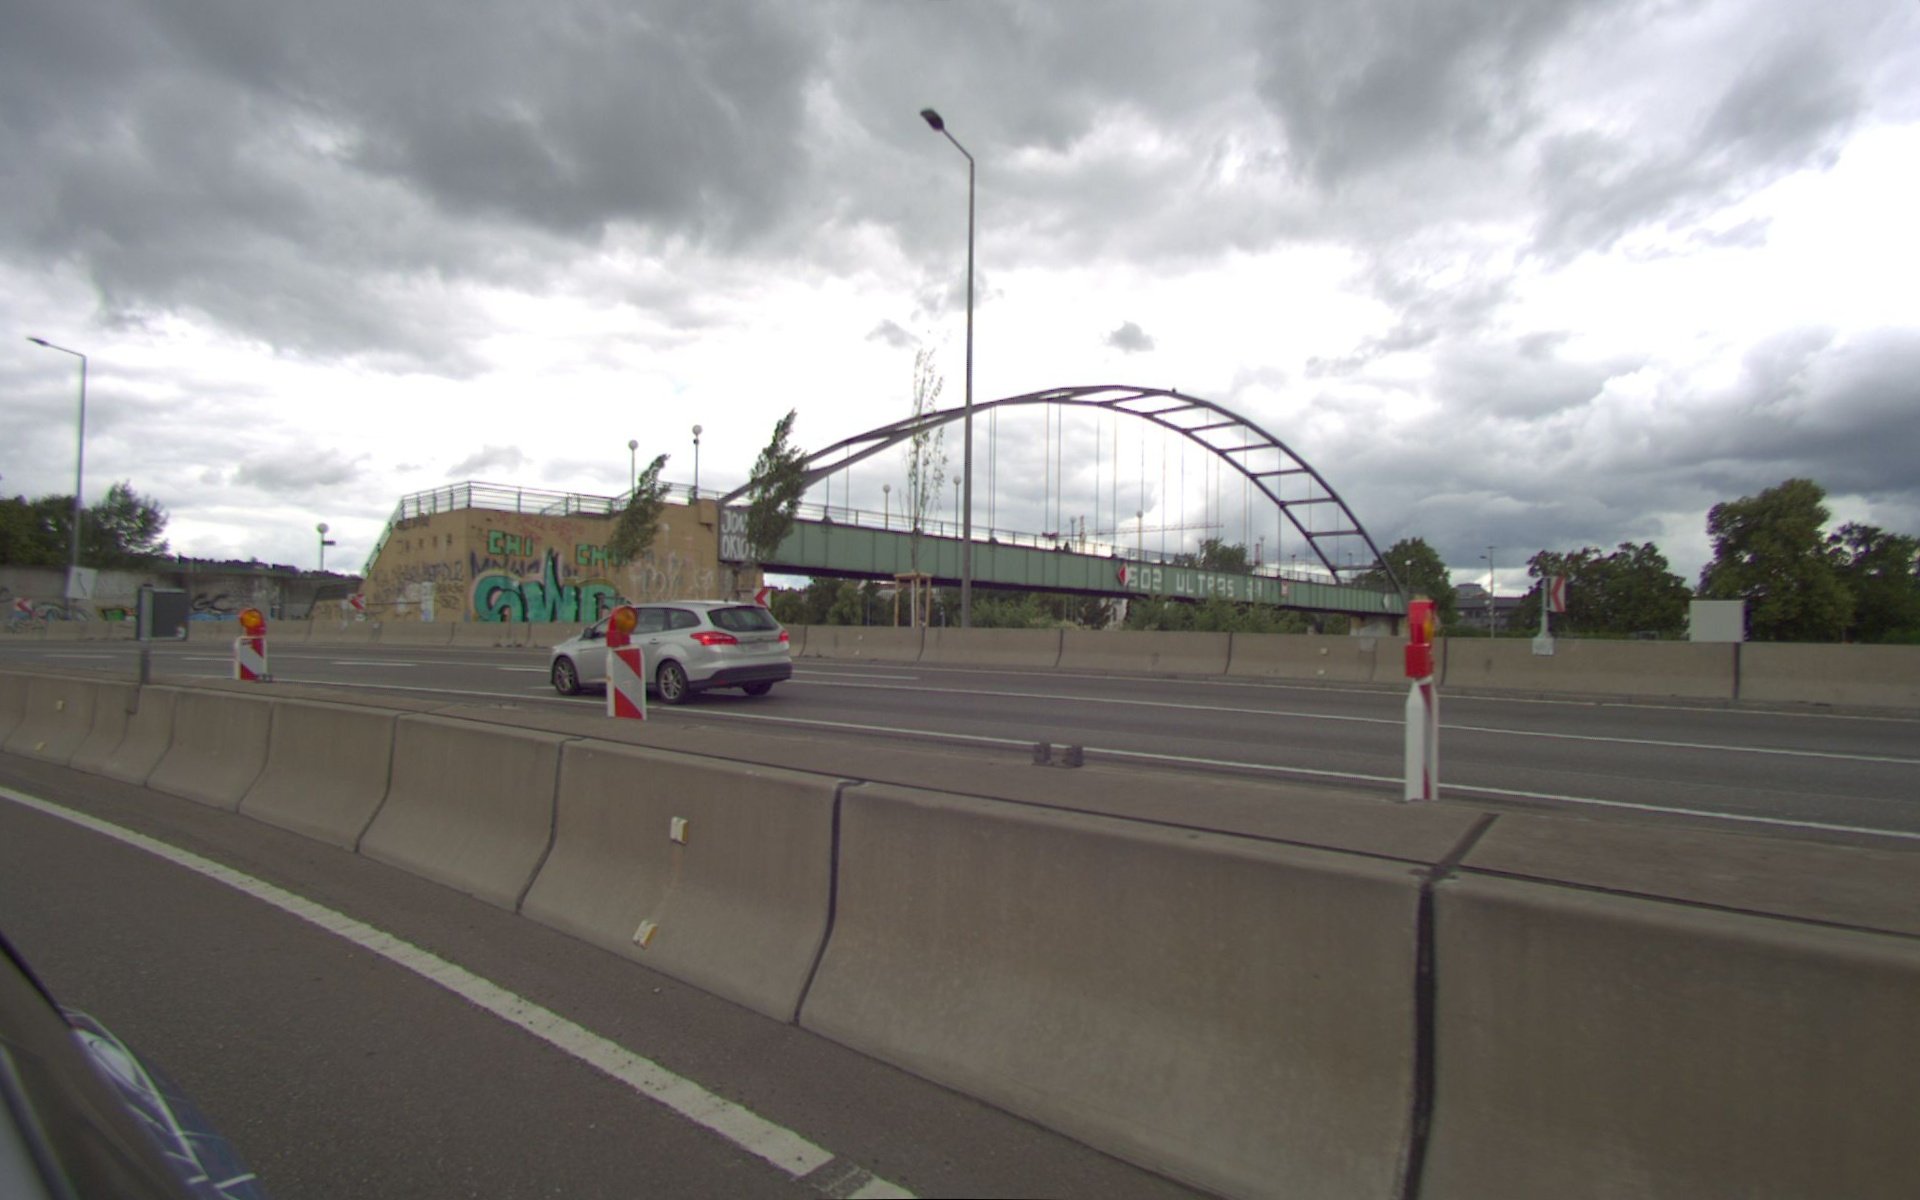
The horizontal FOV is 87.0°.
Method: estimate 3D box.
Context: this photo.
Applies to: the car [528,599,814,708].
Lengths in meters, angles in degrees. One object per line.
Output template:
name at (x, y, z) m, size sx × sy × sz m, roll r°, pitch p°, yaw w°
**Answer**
car at (-4.525, 0.741, 15.526) m, size 4.640 × 1.432 × 1.778 m, roll -1°, pitch 0°, yaw 36°
